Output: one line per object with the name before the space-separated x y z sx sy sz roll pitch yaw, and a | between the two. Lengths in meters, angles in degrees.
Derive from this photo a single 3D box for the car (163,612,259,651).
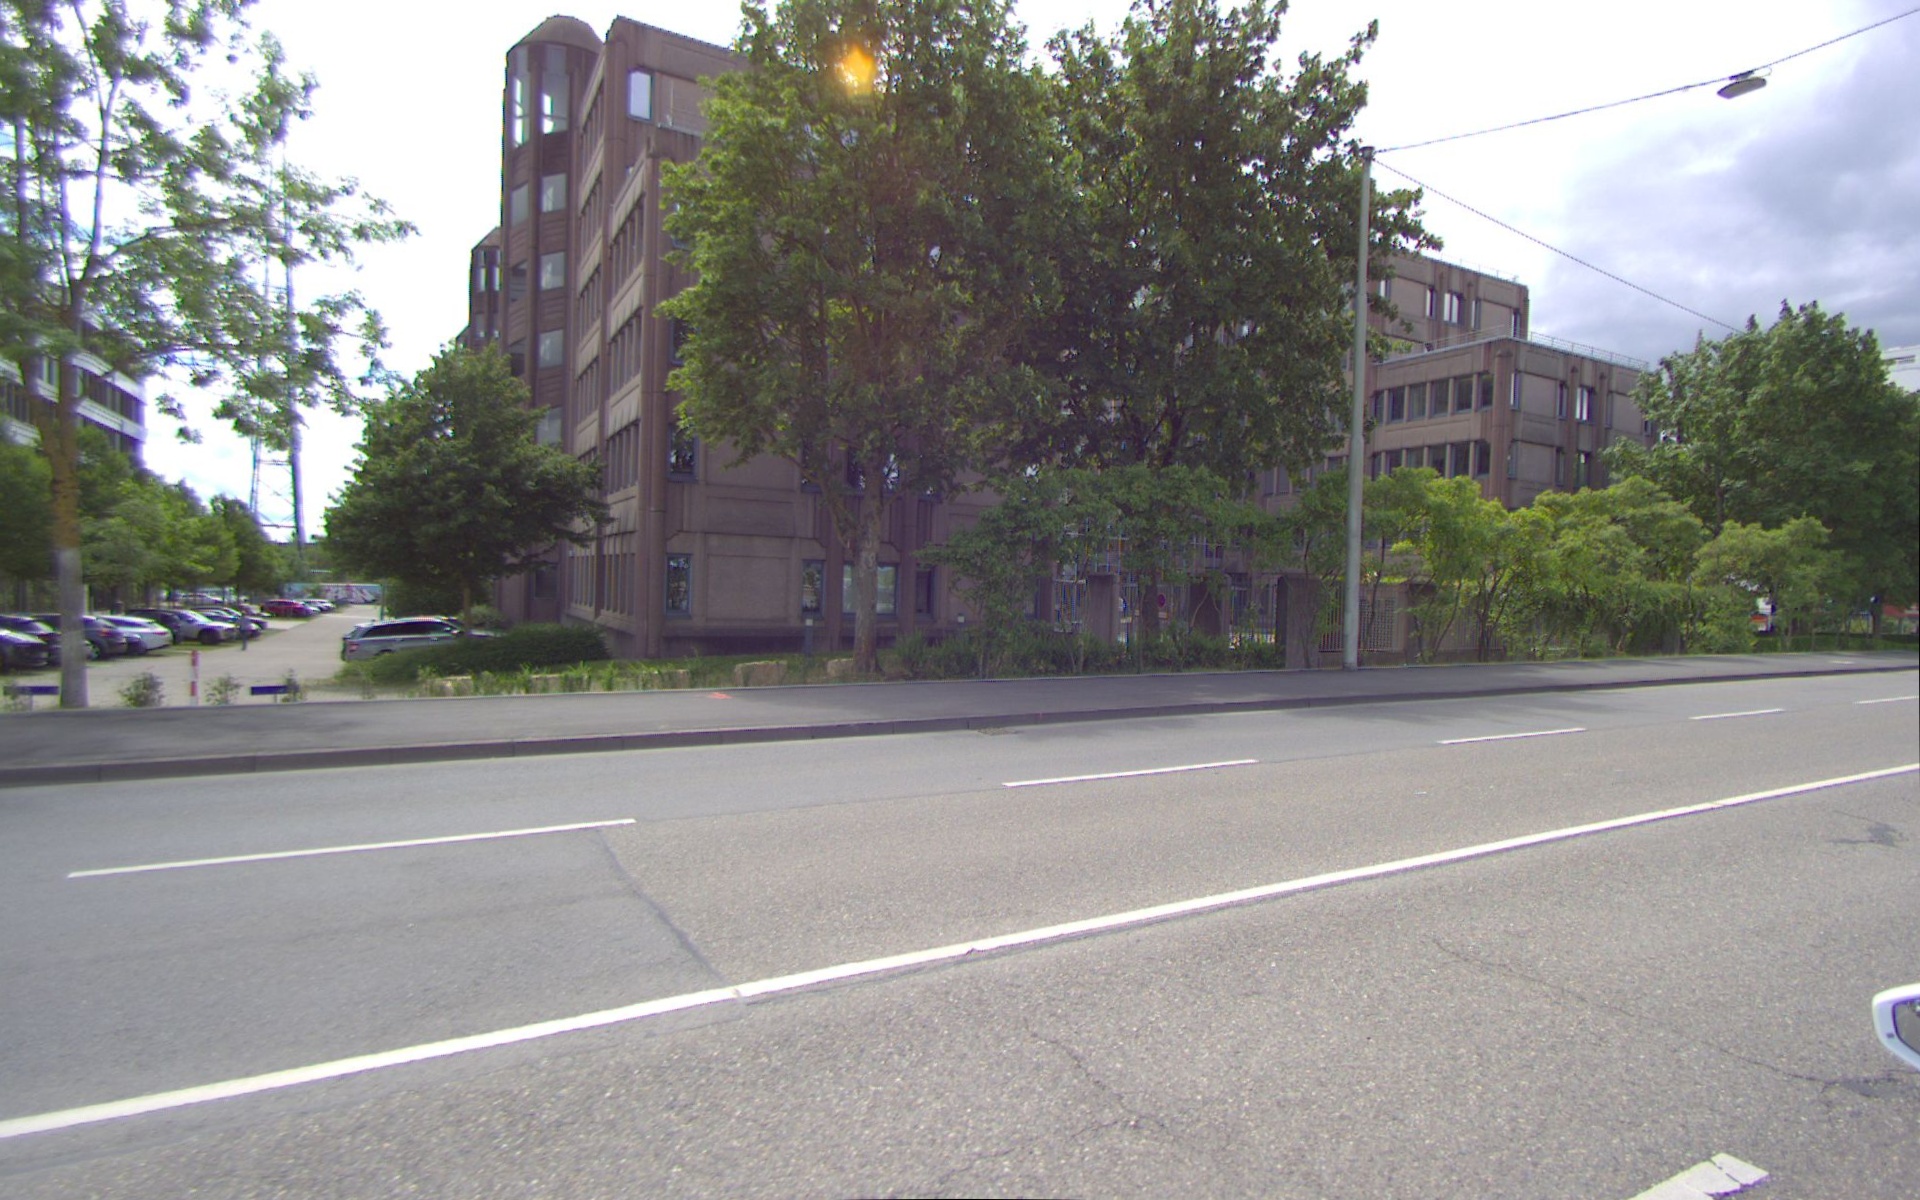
car | -41.133 1.724 55.287 3.953 2.040 1.984 2 1 -30

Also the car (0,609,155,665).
car | -28.663 1.179 32.345 3.993 1.638 1.832 2 1 -30

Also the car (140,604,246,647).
car | -38.585 1.288 50.638 3.953 2.040 1.984 2 1 -30

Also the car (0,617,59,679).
car | -24.172 1.125 23.772 3.953 1.394 1.514 2 1 -31

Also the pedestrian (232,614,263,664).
pedestrian | -33.266 1.828 46.938 0.990 2.231 0.710 4 -1 -30

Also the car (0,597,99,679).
car | -25.286 0.967 26.190 3.953 2.054 1.918 2 1 -30

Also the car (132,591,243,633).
car | -36.946 0.591 48.173 3.954 1.795 1.834 3 0 -30

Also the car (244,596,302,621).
car | -59.798 0.705 87.461 3.953 2.040 1.984 2 1 -30

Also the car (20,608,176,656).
car | -31.206 1.163 36.533 3.954 1.505 1.846 4 -1 -30

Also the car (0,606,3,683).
car | -21.739 0.880 19.644 3.953 1.639 1.984 2 -2 -30

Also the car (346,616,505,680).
car | -15.636 1.378 29.487 3.953 1.684 1.984 2 1 -30
